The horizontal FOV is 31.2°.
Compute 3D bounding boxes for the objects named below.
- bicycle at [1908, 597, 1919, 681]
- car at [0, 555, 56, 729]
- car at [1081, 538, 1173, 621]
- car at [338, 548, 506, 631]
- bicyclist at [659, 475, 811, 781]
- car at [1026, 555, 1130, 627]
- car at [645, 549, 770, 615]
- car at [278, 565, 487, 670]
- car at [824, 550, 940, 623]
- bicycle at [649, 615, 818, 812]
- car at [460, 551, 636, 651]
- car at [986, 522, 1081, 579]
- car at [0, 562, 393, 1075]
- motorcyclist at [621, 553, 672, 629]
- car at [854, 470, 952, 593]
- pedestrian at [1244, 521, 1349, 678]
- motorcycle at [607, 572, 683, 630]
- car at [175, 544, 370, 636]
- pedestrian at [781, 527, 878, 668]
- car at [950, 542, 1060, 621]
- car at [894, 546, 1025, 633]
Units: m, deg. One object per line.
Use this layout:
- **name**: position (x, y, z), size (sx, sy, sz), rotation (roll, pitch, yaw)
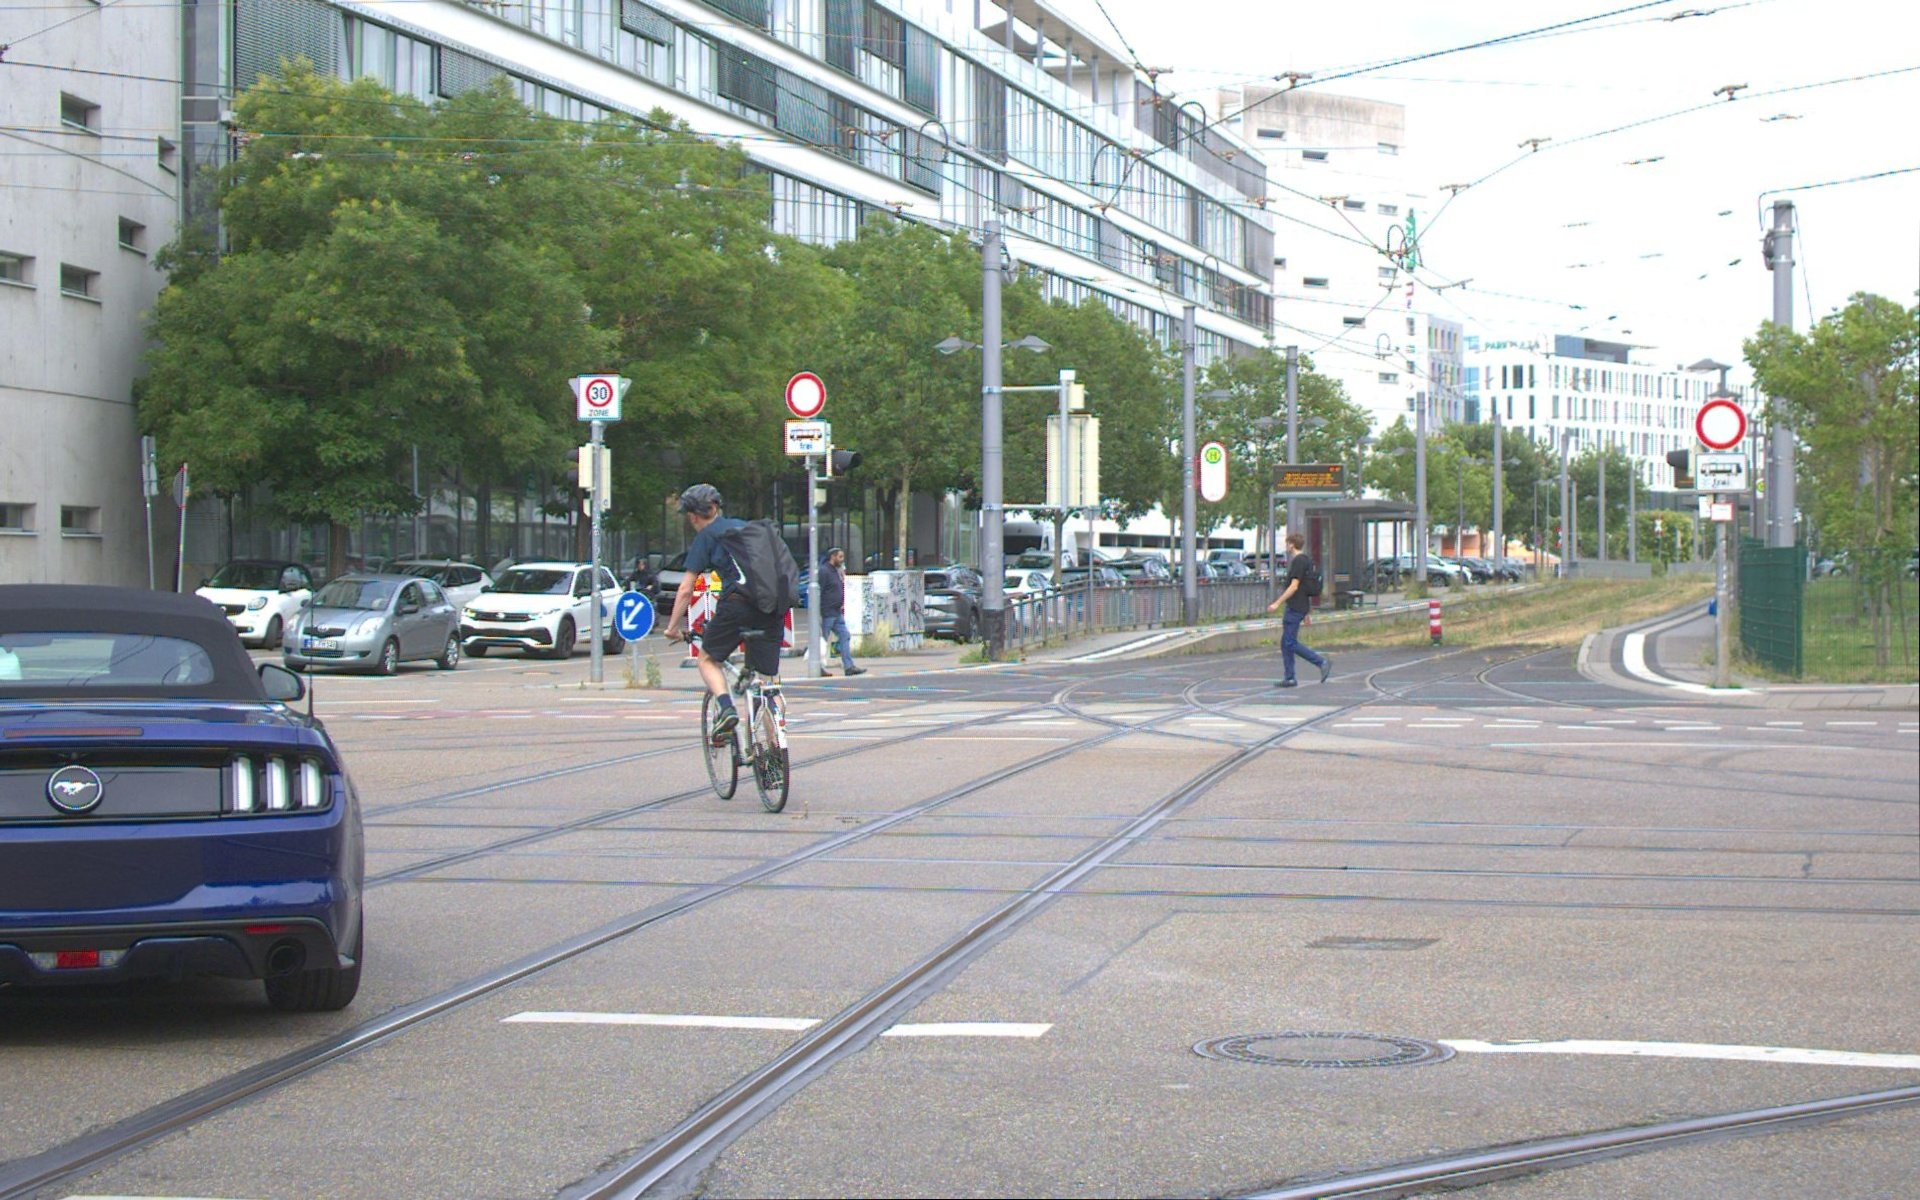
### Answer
- **bicycle**: position (11.919, 0.418, 39.365), size (0.632, 0.977, 2.158), rotation (-1, -2, -32)
- **car**: position (-9.640, 0.340, 29.792), size (1.836, 1.434, 4.185), rotation (-1, 1, -41)
- **car**: position (4.130, -0.523, 84.402), size (1.786, 1.980, 4.119), rotation (0, 1, 10)
- **car**: position (-10.814, -0.234, 69.345), size (1.831, 1.551, 4.214), rotation (2, 1, 14)
- **bicyclist**: position (-1.367, 0.153, 20.700), size (0.796, 1.779, 1.233), rotation (0, 1, -9)
- **car**: position (2.759, -0.229, 79.615), size (1.869, 1.600, 4.211), rotation (0, 1, 10)
- **car**: position (-6.354, -0.469, 87.016), size (1.987, 1.551, 4.510), rotation (2, 1, 11)
- **car**: position (-8.963, 0.239, 53.695), size (1.669, 1.501, 4.232), rotation (2, 1, 14)
- **car**: position (-1.845, -0.337, 82.666), size (1.716, 1.654, 4.130), rotation (2, 1, 14)
- **bicycle**: position (-1.388, 0.655, 20.727), size (0.800, 1.083, 2.132), rotation (0, 1, -10)
- **car**: position (-7.262, -0.021, 60.930), size (1.716, 1.654, 4.130), rotation (2, 1, 14)
- **car**: position (2.173, -1.465, 100.745), size (1.904, 1.580, 4.179), rotation (2, 1, 14)
- **car**: position (-3.250, 0.597, 11.808), size (1.875, 1.399, 4.283), rotation (0, 1, -19)
- **motorcyclist**: position (-6.741, -0.207, 73.947), size (0.820, 1.611, 0.882), rotation (1, 1, 14)
- **car**: position (-1.719, -2.103, 105.484), size (1.987, 3.624, 4.510), rotation (2, 1, 11)
- **pedestrian**: position (4.120, -0.015, 42.047), size (1.087, 1.891, 0.901), rotation (0, 1, 19)
- **motorcycle**: position (-6.759, 0.016, 73.897), size (0.826, 1.195, 2.500), rotation (1, 1, 14)
- **car**: position (-12.400, -0.206, 62.251), size (1.831, 1.551, 4.214), rotation (2, 1, 14)
- **pedestrian**: position (-1.736, -0.036, 45.841), size (0.990, 1.849, 0.901), rotation (0, 1, 24)
- **car**: position (0.971, -0.410, 72.060), size (1.705, 1.600, 4.077), rotation (0, 1, 10)
- **car**: position (0.024, -0.229, 66.472), size (1.880, 1.623, 4.085), rotation (0, 1, 10)
